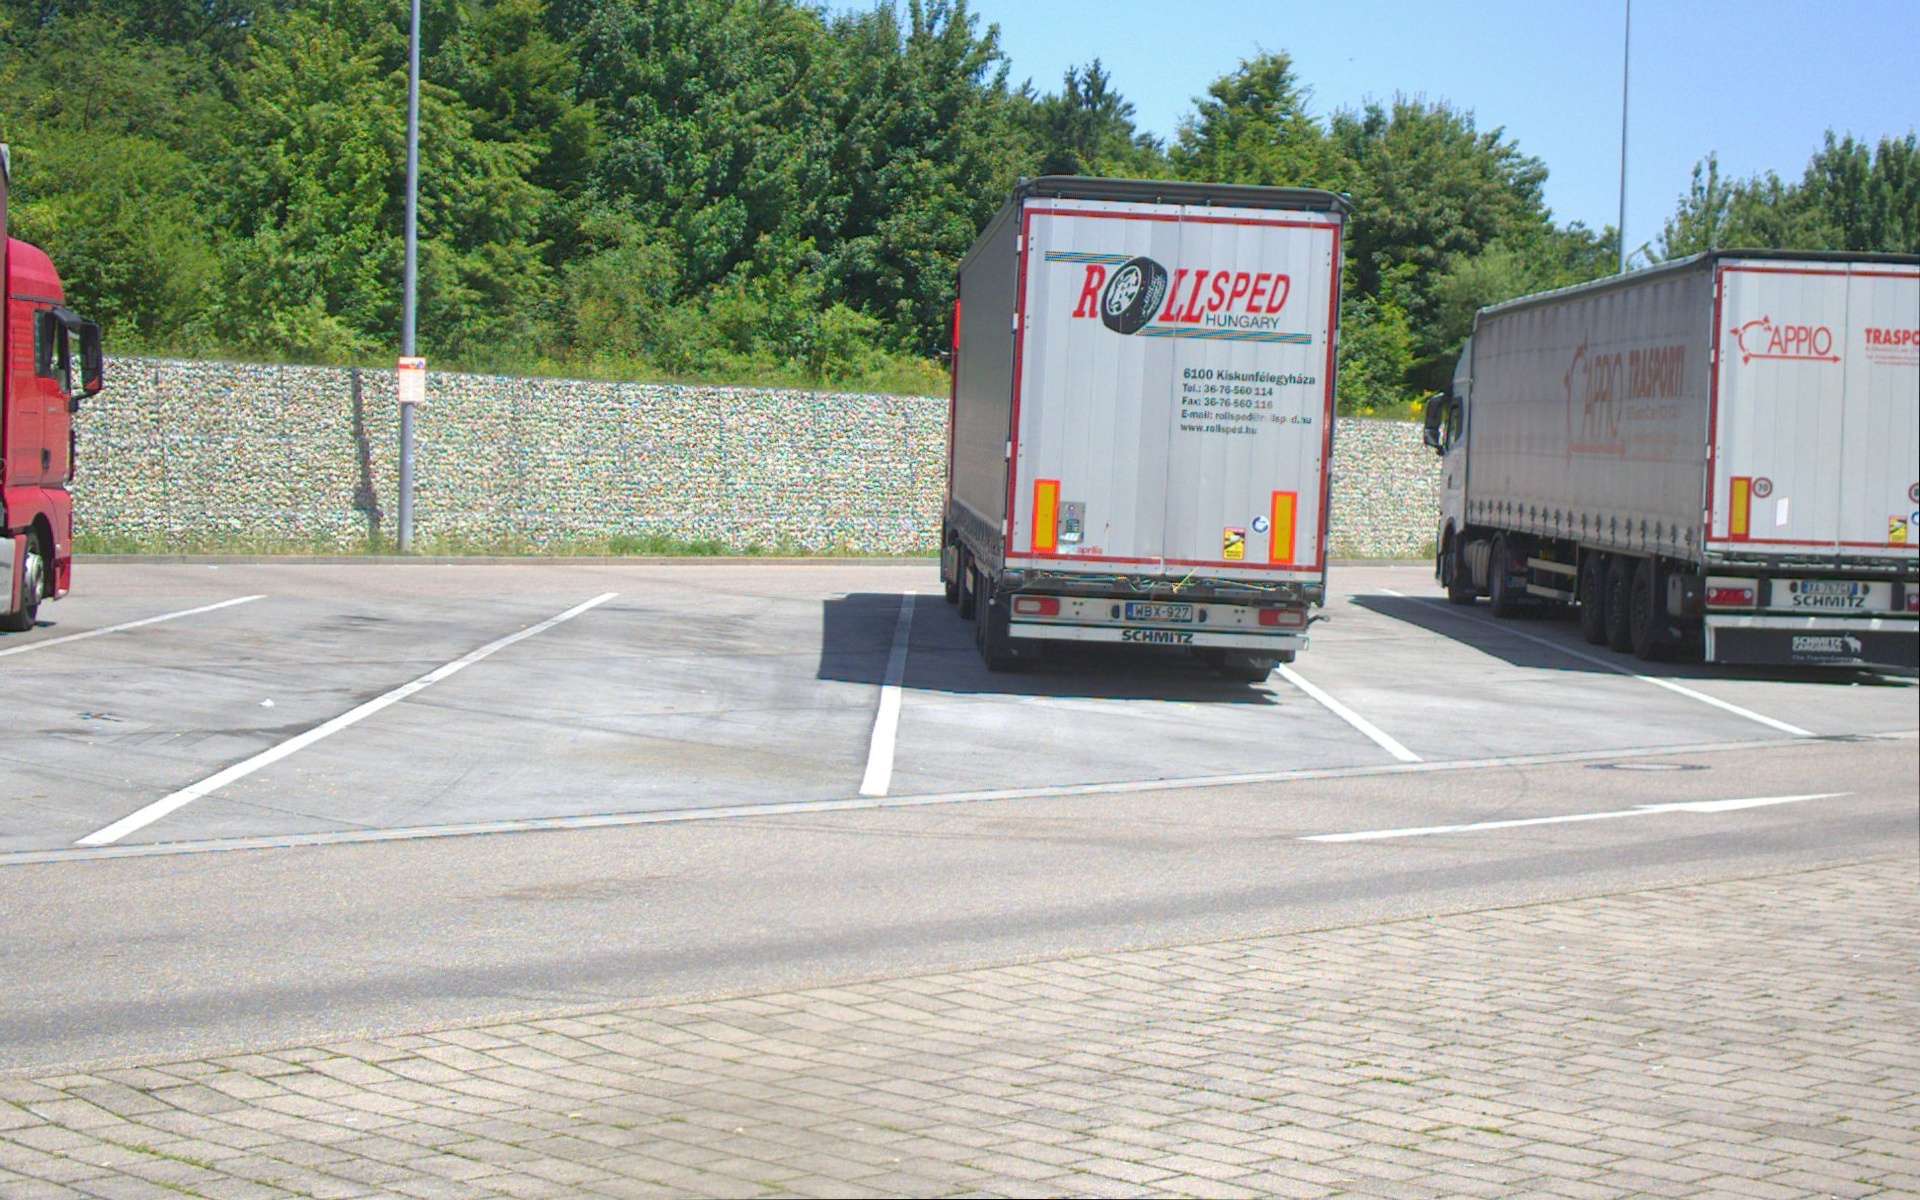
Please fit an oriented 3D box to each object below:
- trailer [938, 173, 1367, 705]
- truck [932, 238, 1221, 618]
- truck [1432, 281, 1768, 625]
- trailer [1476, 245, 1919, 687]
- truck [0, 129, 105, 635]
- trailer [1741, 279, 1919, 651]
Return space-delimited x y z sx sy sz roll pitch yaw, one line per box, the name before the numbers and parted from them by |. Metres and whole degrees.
trailer | 1.441 -1.634 33.643 2.866 4.023 14.243 2 3 -2
truck | 1.228 -2.053 40.722 2.866 4.023 7.028 2 3 -2
truck | 8.125 -1.949 44.608 2.866 4.023 6.957 2 3 0
trailer | 8.185 -1.566 37.981 2.866 4.023 12.439 2 3 0
truck | -9.146 -1.810 28.003 2.696 4.099 6.240 2 3 0
trailer | 11.840 -1.527 39.046 2.866 4.023 12.439 2 3 0
